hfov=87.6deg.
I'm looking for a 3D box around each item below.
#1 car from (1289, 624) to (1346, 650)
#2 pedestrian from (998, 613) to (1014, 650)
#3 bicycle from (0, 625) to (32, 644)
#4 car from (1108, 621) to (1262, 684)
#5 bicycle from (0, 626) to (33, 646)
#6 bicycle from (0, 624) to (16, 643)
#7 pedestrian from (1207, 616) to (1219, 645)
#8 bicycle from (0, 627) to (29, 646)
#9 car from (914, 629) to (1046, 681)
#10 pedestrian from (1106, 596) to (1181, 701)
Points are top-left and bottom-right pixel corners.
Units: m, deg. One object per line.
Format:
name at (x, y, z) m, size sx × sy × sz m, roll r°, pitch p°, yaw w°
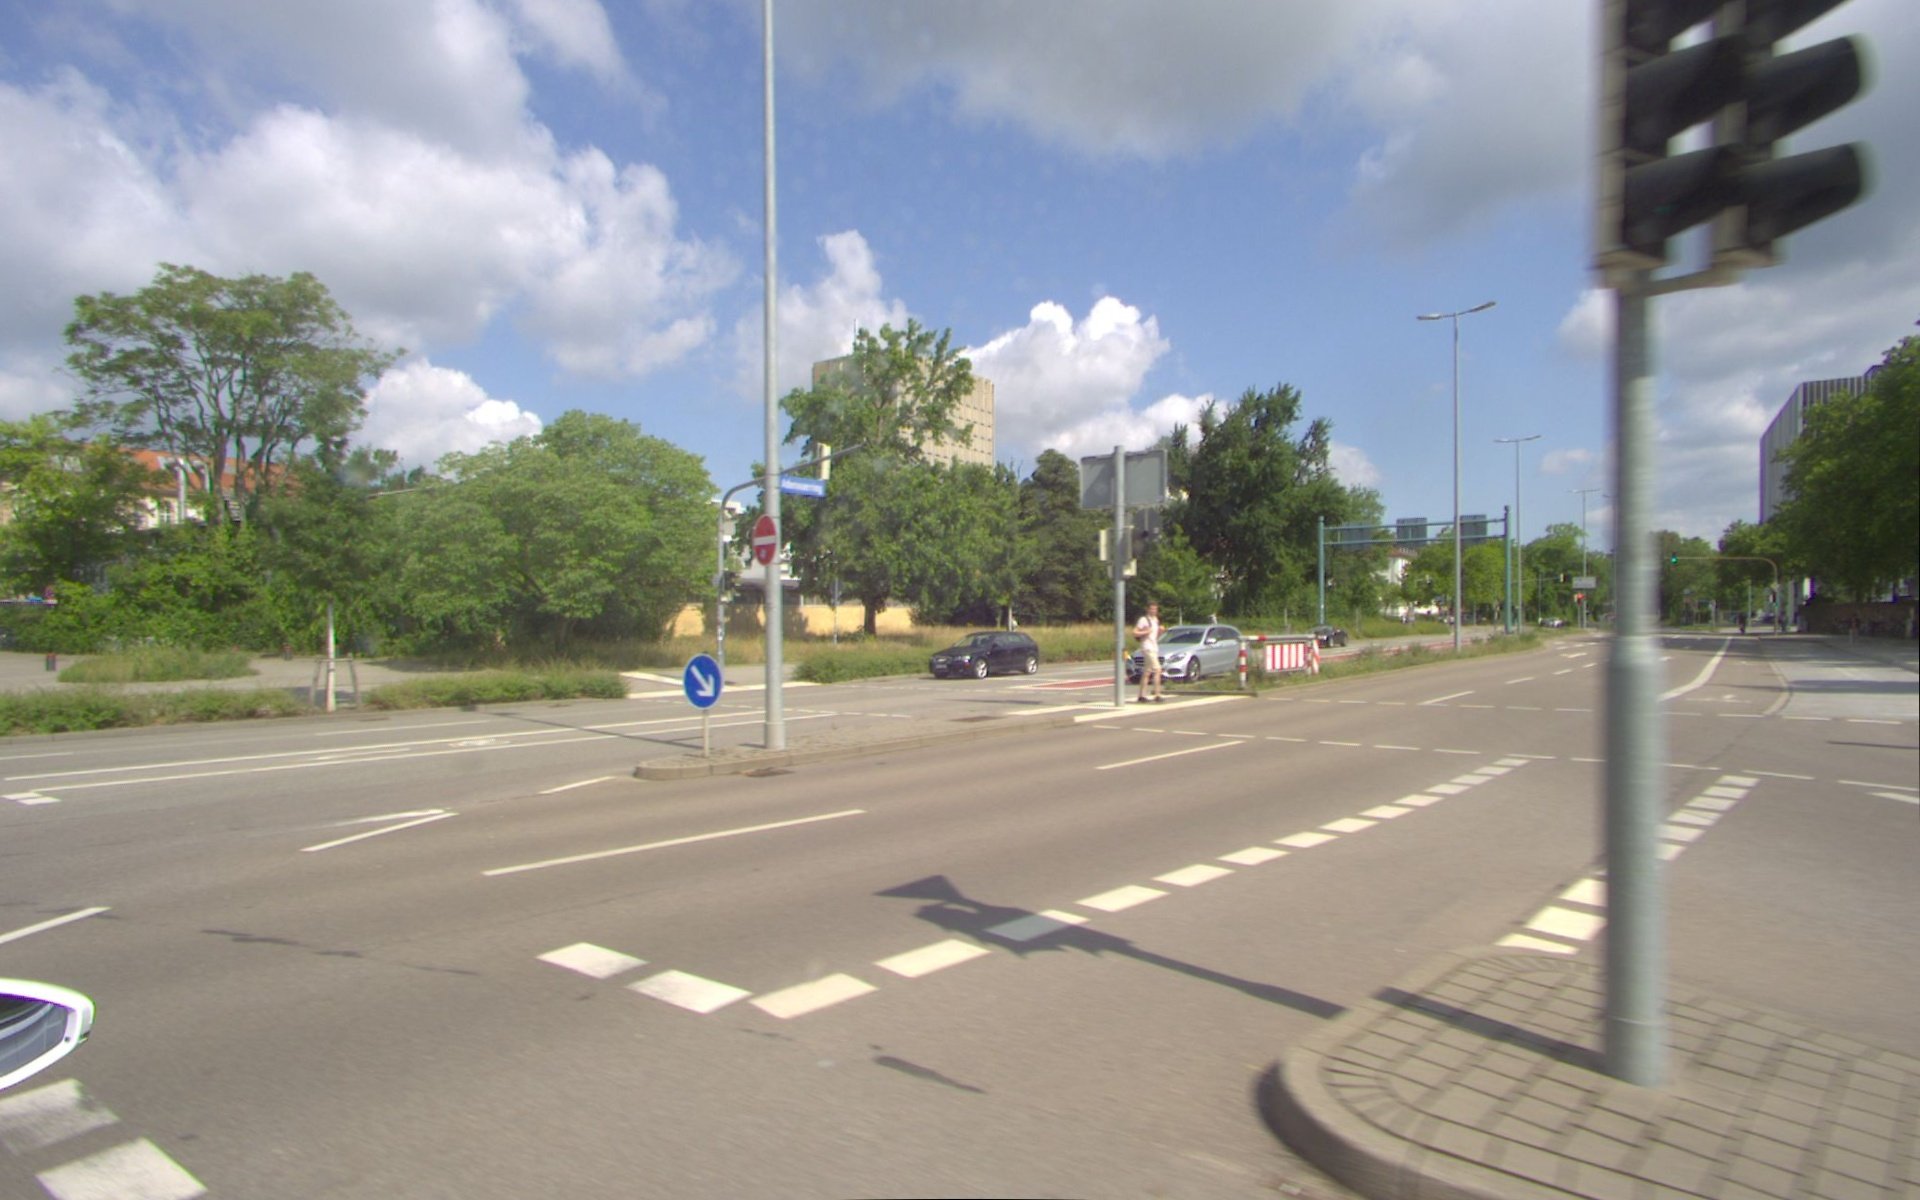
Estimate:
car at (19.937, 2.023, 55.809) m, size 1.776 × 1.289 × 3.970 m, roll -1°, pitch 0°, yaw 39°
pedestrian at (2.071, 1.425, 45.271) m, size 0.534 × 1.628 × 0.522 m, roll 0°, pitch -2°, yaw 32°
bicycle at (-48.694, 1.740, 50.936) m, size 0.793 × 0.948 × 2.049 m, roll -1°, pitch -1°, yaw 34°
car at (6.058, 1.362, 26.582) m, size 2.039 × 1.460 × 4.743 m, roll -3°, pitch -2°, yaw 40°
bicycle at (-45.768, 1.736, 47.864) m, size 0.793 × 0.948 × 2.049 m, roll -1°, pitch -1°, yaw 34°
bicycle at (-49.958, 1.734, 51.429) m, size 0.793 × 0.948 × 2.049 m, roll -1°, pitch -1°, yaw 34°
pedestrian at (15.767, 1.901, 62.400) m, size 0.534 × 1.790 × 0.522 m, roll 0°, pitch -2°, yaw 32°
bicycle at (-46.951, 1.787, 48.883) m, size 0.793 × 0.948 × 2.049 m, roll -1°, pitch -1°, yaw 34°
car at (0.683, 1.648, 31.197) m, size 1.976 × 1.395 × 4.128 m, roll 0°, pitch 0°, yaw 40°
pedestrian at (3.416, 0.895, 18.643) m, size 1.162 × 1.881 × 0.697 m, roll -3°, pitch -1°, yaw 25°
